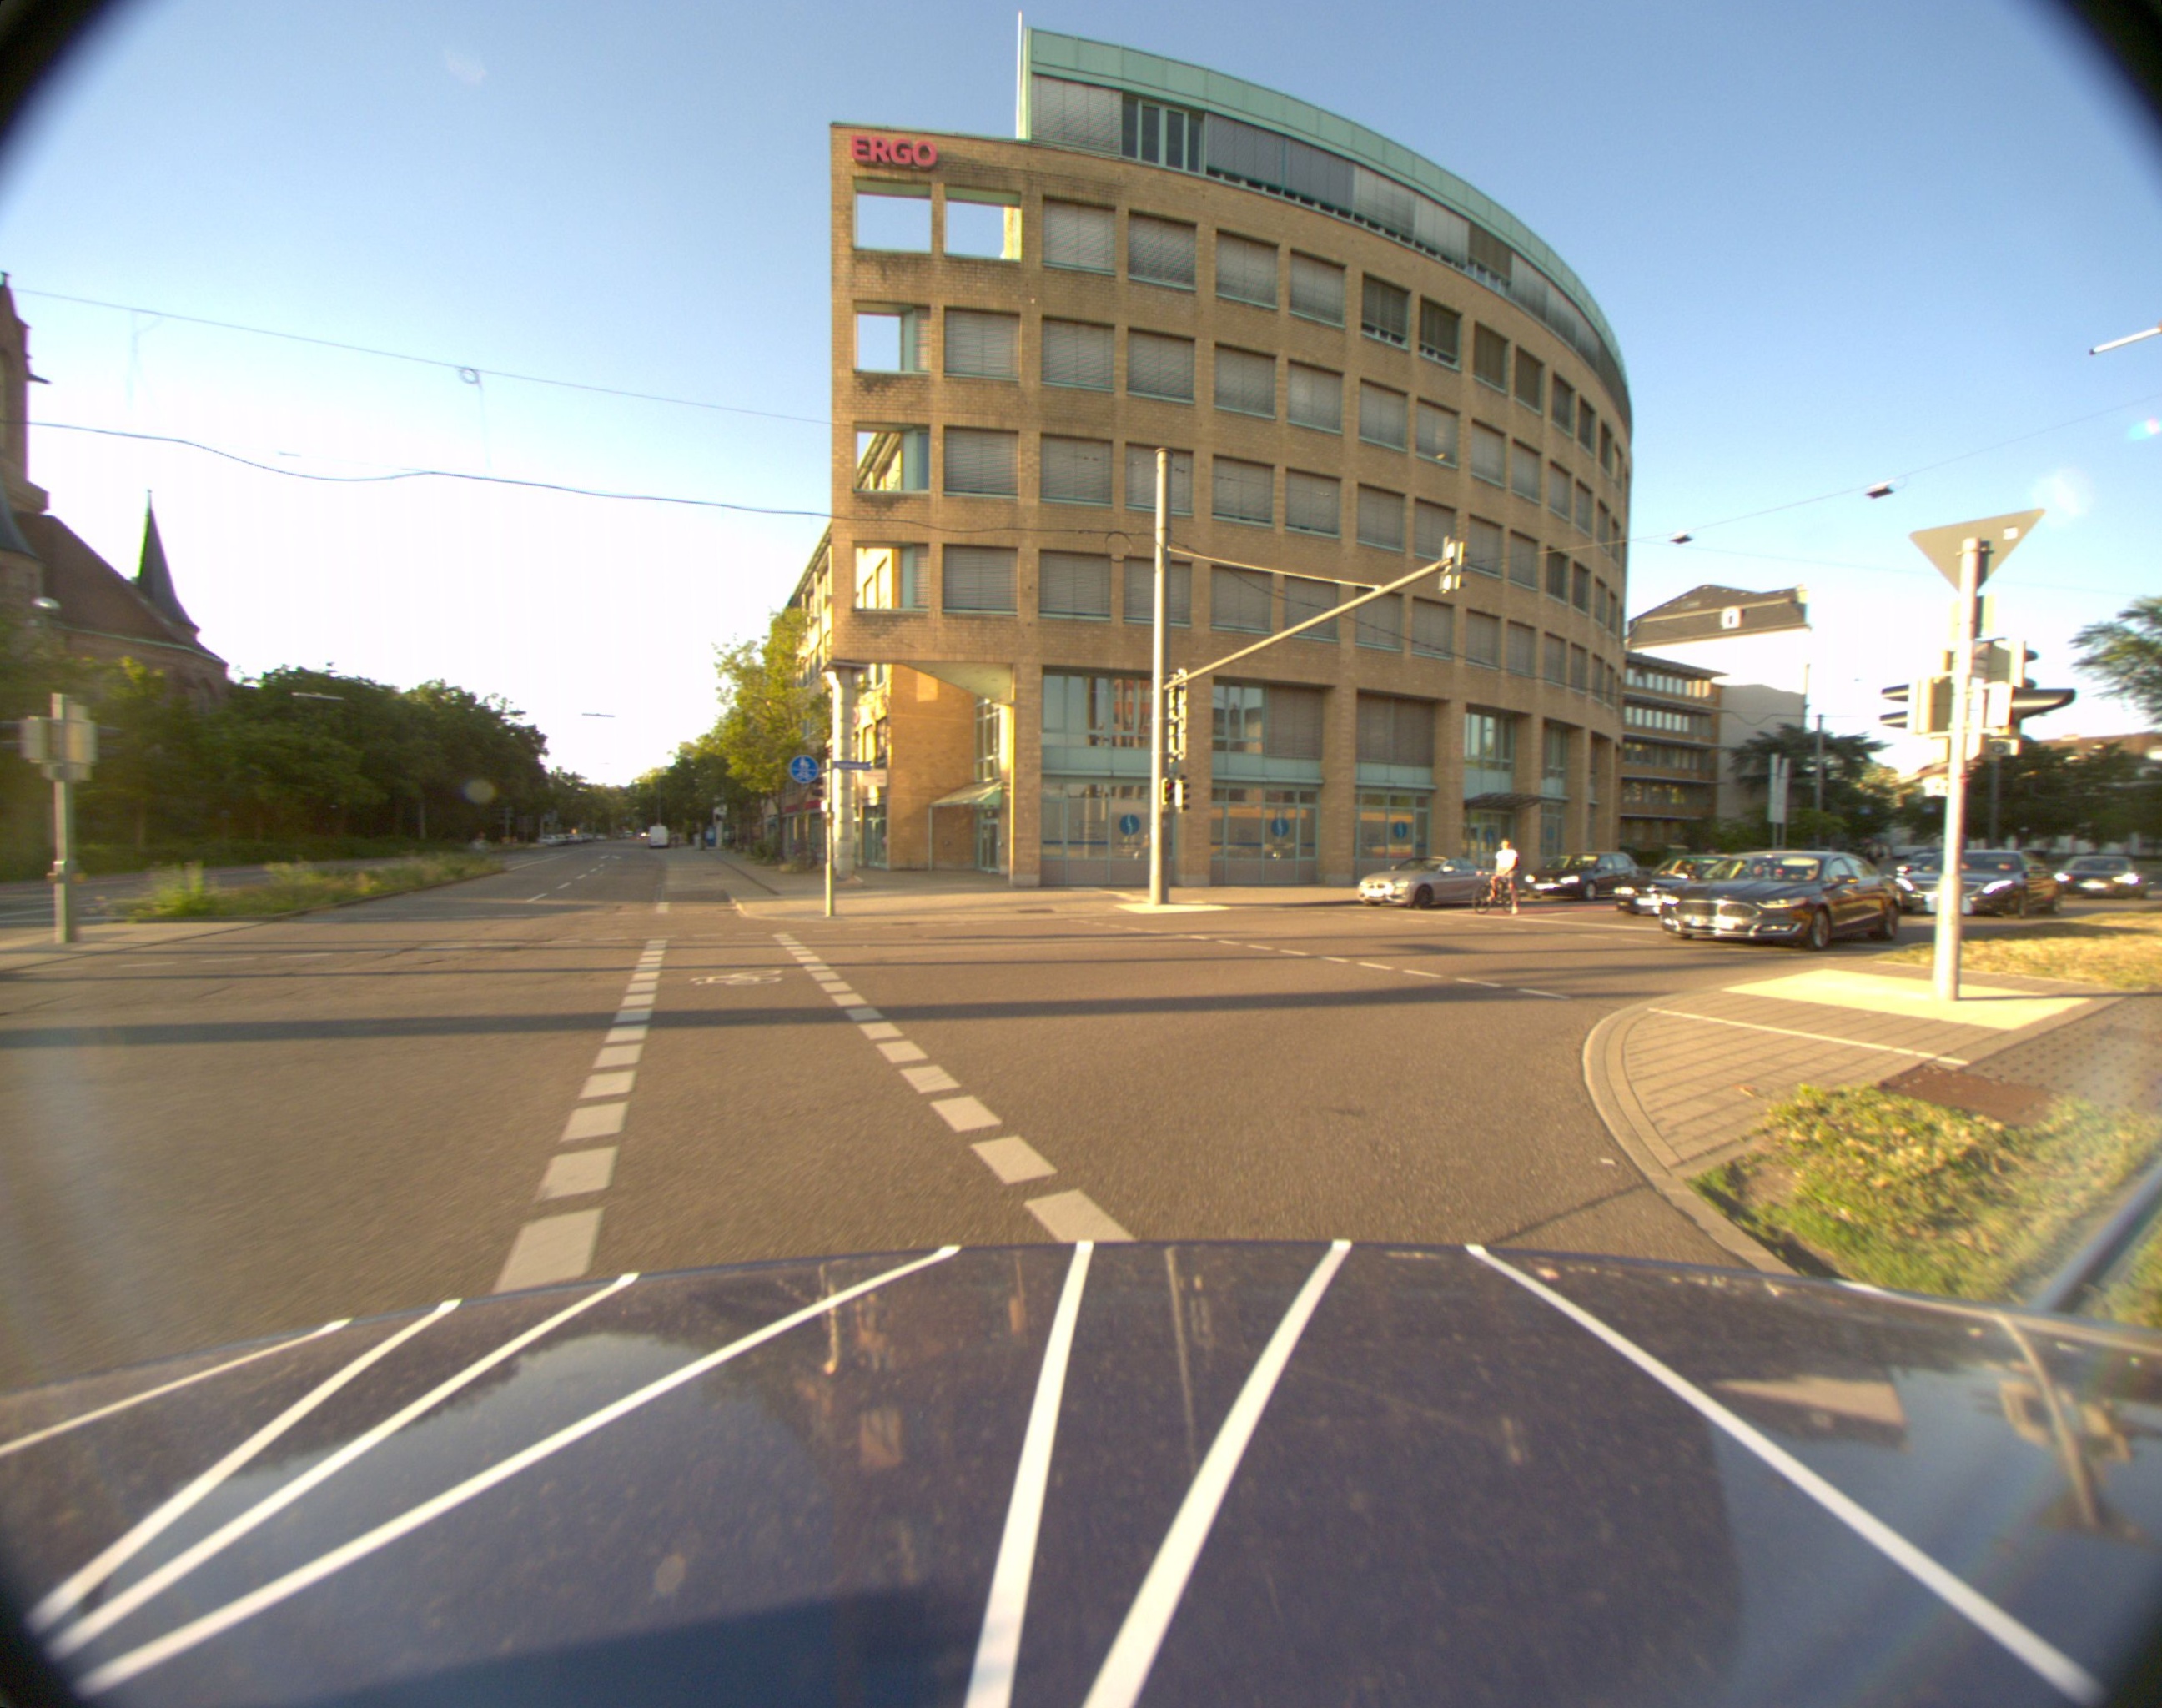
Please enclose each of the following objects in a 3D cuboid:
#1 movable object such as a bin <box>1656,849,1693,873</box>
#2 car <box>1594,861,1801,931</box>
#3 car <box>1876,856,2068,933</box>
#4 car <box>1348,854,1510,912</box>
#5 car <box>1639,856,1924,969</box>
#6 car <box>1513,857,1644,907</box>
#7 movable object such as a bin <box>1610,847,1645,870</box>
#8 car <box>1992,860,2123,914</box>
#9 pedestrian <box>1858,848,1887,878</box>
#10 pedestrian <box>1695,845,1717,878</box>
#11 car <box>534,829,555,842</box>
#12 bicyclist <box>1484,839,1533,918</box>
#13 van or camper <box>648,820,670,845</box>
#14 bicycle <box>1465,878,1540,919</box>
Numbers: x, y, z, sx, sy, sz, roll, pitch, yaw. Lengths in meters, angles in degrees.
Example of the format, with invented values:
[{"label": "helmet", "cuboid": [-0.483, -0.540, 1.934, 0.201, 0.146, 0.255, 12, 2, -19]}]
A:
[{"label": "movable object such as a bin", "cuboid": [37.476, 0.424, 47.995, 1.335, 1.451, 1.423, 0, 2, -33]}, {"label": "car", "cuboid": [14.113, 0.858, 17.353, 4.747, 1.377, 1.995, 0, 1, -29]}, {"label": "car", "cuboid": [20.596, 0.846, 17.534, 4.712, 1.527, 1.894, 0, 2, -28]}, {"label": "car", "cuboid": [9.386, 0.721, 20.444, 4.234, 1.377, 1.745, 0, 2, -28]}, {"label": "car", "cuboid": [11.311, 0.807, 12.212, 4.732, 1.478, 1.887, 0, 2, -29]}, {"label": "car", "cuboid": [15.348, 0.809, 23.409, 4.007, 1.379, 1.755, 0, 2, -30]}, {"label": "movable object such as a bin", "cuboid": [36.550, 0.287, 50.822, 1.335, 1.451, 1.424, 0, 2, -31]}, {"label": "car", "cuboid": [30.284, 0.962, 23.543, 4.150, 1.453, 1.994, 0, 2, -32]}, {"label": "pedestrian", "cuboid": [50.574, 0.592, 48.558, 1.128, 1.884, 0.909, 0, 2, -23]}, {"label": "pedestrian", "cuboid": [32.083, 0.394, 39.010, 0.715, 1.672, 0.626, 0, 1, -32]}, {"label": "car", "cuboid": [-66.216, -2.290, 93.802, 1.911, 1.609, 3.989, 0, 2, -33]}, {"label": "bicyclist", "cuboid": [10.019, 0.556, 17.802, 0.778, 1.810, 0.634, 0, 2, -30]}, {"label": "van or camper", "cuboid": [-49.395, -2.570, 88.982, 2.158, 2.827, 4.393, 0, 2, -27]}, {"label": "bicycle", "cuboid": [9.830, 1.016, 17.715, 1.873, 0.868, 0.634, 0, 2, -30]}]
